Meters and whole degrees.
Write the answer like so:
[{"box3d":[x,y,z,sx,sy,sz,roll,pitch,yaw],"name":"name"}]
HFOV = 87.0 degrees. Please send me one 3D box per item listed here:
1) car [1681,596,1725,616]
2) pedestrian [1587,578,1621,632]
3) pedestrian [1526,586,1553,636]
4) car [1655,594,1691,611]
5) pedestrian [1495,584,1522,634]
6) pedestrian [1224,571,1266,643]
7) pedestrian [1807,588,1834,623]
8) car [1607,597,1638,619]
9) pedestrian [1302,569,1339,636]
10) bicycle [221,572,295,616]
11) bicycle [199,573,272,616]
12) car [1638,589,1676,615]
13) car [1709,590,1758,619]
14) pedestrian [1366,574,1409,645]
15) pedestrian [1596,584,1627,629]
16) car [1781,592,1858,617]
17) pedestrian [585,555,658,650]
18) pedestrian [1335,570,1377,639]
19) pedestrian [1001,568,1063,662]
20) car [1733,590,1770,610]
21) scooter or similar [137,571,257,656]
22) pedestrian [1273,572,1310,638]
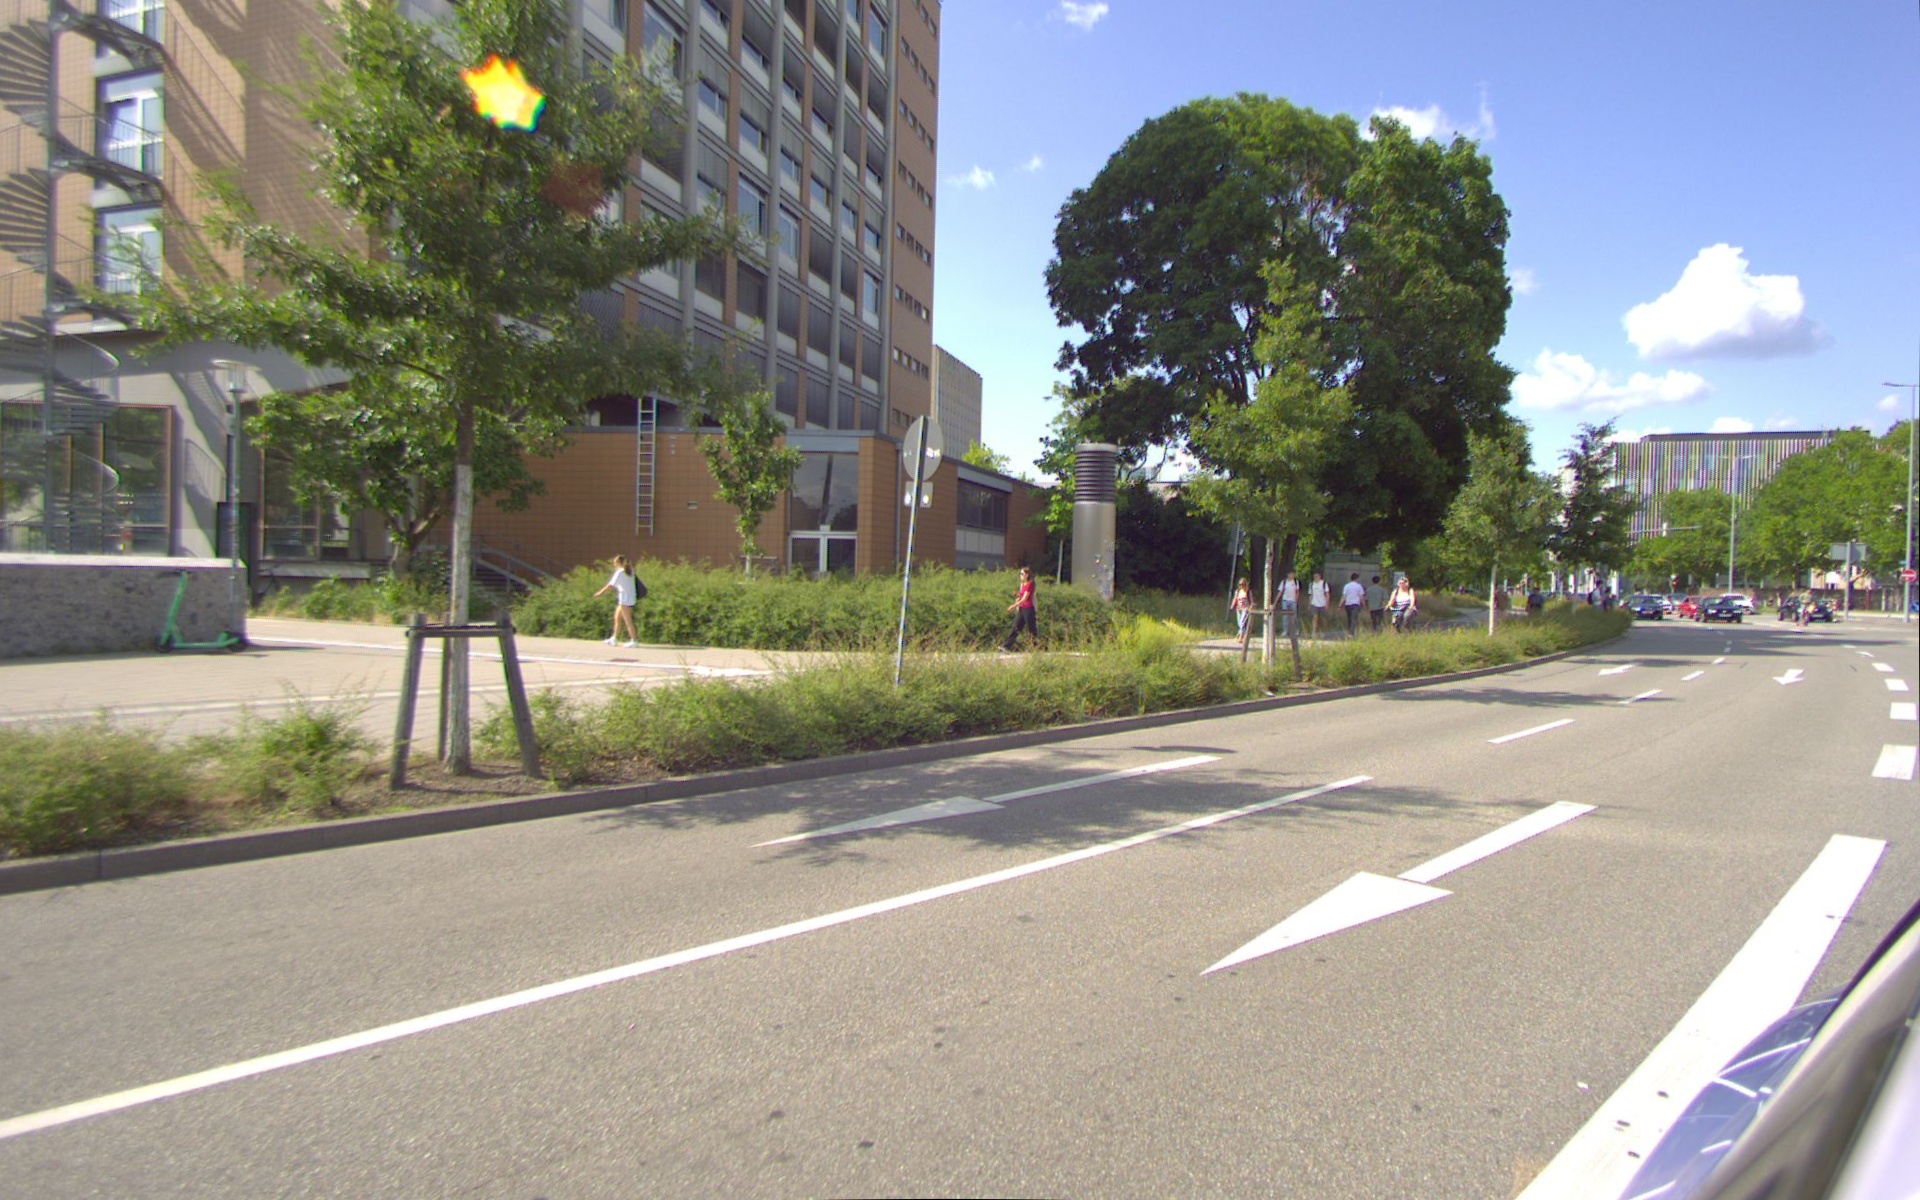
[{"box3d":[46.291,0.352,63.108,1.583,1.148,3.596,1,1,27],"name":"car"},{"box3d":[24.554,0.181,38.583,0.961,2.039,0.757,-1,0,41],"name":"pedestrian"},{"box3d":[20.583,0.383,35.960,0.763,1.757,0.710,-1,0,35],"name":"pedestrian"},{"box3d":[51.847,0.138,73.643,1.895,1.148,4.057,1,1,31],"name":"car"},{"box3d":[19.564,0.328,36.073,0.763,1.757,0.710,-1,0,35],"name":"pedestrian"},{"box3d":[6.830,0.151,24.261,0.613,1.642,0.877,4,3,38],"name":"pedestrian"},{"box3d":[42.658,0.279,50.165,0.730,1.736,0.870,-1,0,21],"name":"pedestrian"},{"box3d":[47.897,0.533,73.107,1.814,1.481,3.951,1,1,34],"name":"car"},{"box3d":[9.541,0.047,26.787,0.613,1.720,0.877,4,3,38],"name":"pedestrian"},{"box3d":[-17.509,-0.163,25.276,0.539,1.001,1.502,1,4,14],"name":"bicycle"},{"box3d":[-18.248,-0.157,25.523,0.539,1.001,1.502,1,4,14],"name":"bicycle"},{"box3d":[41.430,0.113,60.128,1.816,1.481,3.949,1,1,36],"name":"car"},{"box3d":[41.832,0.196,54.812,1.814,1.481,3.952,1,1,33],"name":"car"},{"box3d":[11.195,0.223,26.501,0.741,1.775,0.878,4,3,37],"name":"pedestrian"},{"box3d":[26.141,0.260,40.585,0.924,1.757,0.757,-1,0,41],"name":"pedestrian"},{"box3d":[48.509,0.243,57.205,1.707,1.351,3.776,0,1,12],"name":"car"},{"box3d":[-6.158,0.030,18.417,1.081,1.642,0.613,3,3,16],"name":"pedestrian"},{"box3d":[10.590,0.106,27.041,0.741,1.767,0.877,4,3,38],"name":"pedestrian"},{"box3d":[1.312,0.256,18.464,0.872,1.642,0.617,1,3,-31],"name":"pedestrian"},{"box3d":[55.701,-0.010,71.250,1.767,1.371,3.952,0,1,34],"name":"car"},{"box3d":[-10.676,0.181,14.182,1.293,1.117,0.466,2,1,-2],"name":"scooter or similar"},{"box3d":[8.897,0.124,27.135,0.613,1.720,0.877,4,3,38],"name":"pedestrian"}]
